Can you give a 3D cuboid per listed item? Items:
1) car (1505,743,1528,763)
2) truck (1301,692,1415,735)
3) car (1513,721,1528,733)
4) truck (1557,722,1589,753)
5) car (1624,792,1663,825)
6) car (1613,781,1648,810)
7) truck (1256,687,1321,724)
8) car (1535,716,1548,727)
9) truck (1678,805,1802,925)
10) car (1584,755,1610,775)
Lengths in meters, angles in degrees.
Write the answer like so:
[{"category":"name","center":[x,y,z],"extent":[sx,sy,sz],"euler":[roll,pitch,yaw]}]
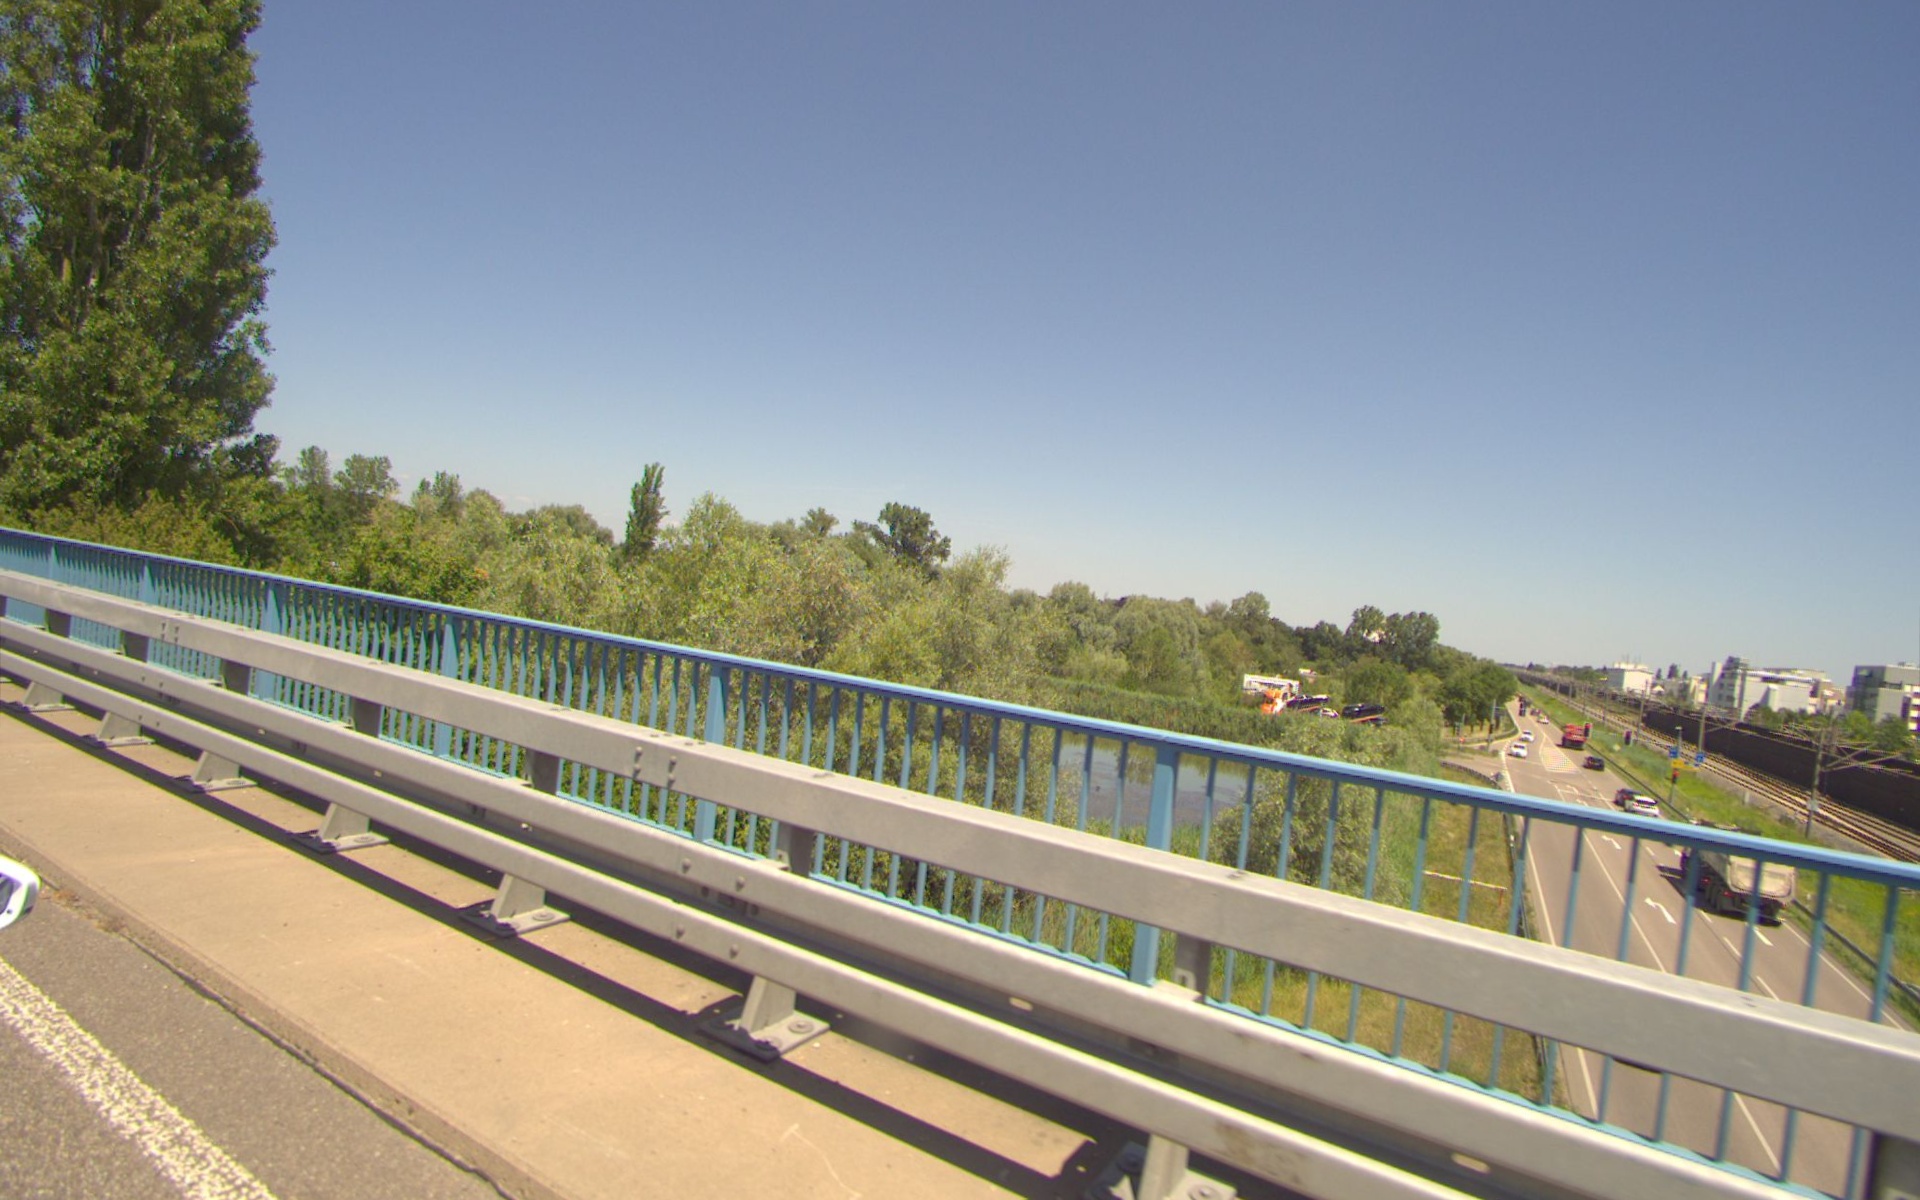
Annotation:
[{"category":"car","center":[63.771,17.486,115.234],"extent":[1.967,1.638,4.235],"euler":[9,1,32]},{"category":"truck","center":[45.817,13.085,115.913],"extent":[12.236,3.398,1.999],"euler":[7,0,-4]},{"category":"car","center":[97.193,21.993,174.440],"extent":[1.967,1.638,4.235],"euler":[9,1,32]},{"category":"truck","center":[90.830,20.299,149.202],"extent":[2.825,3.467,10.974],"euler":[8,1,27]},{"category":"car","center":[53.322,16.211,78.542],"extent":[1.966,1.638,4.236],"euler":[9,1,30]},{"category":"car","center":[56.603,16.481,85.024],"extent":[1.966,1.638,4.236],"euler":[9,1,30]},{"category":"truck","center":[38.026,12.183,116.549],"extent":[6.693,3.398,2.001],"euler":[6,0,13]},{"category":"car","center":[121.565,25.393,210.324],"extent":[1.966,1.638,4.236],"euler":[9,1,30]},{"category":"truck","center":[39.689,13.273,51.673],"extent":[2.826,3.467,11.918],"euler":[9,1,29]},{"category":"car","center":[73.881,19.116,116.771],"extent":[1.965,1.638,4.238],"euler":[9,1,28]}]
